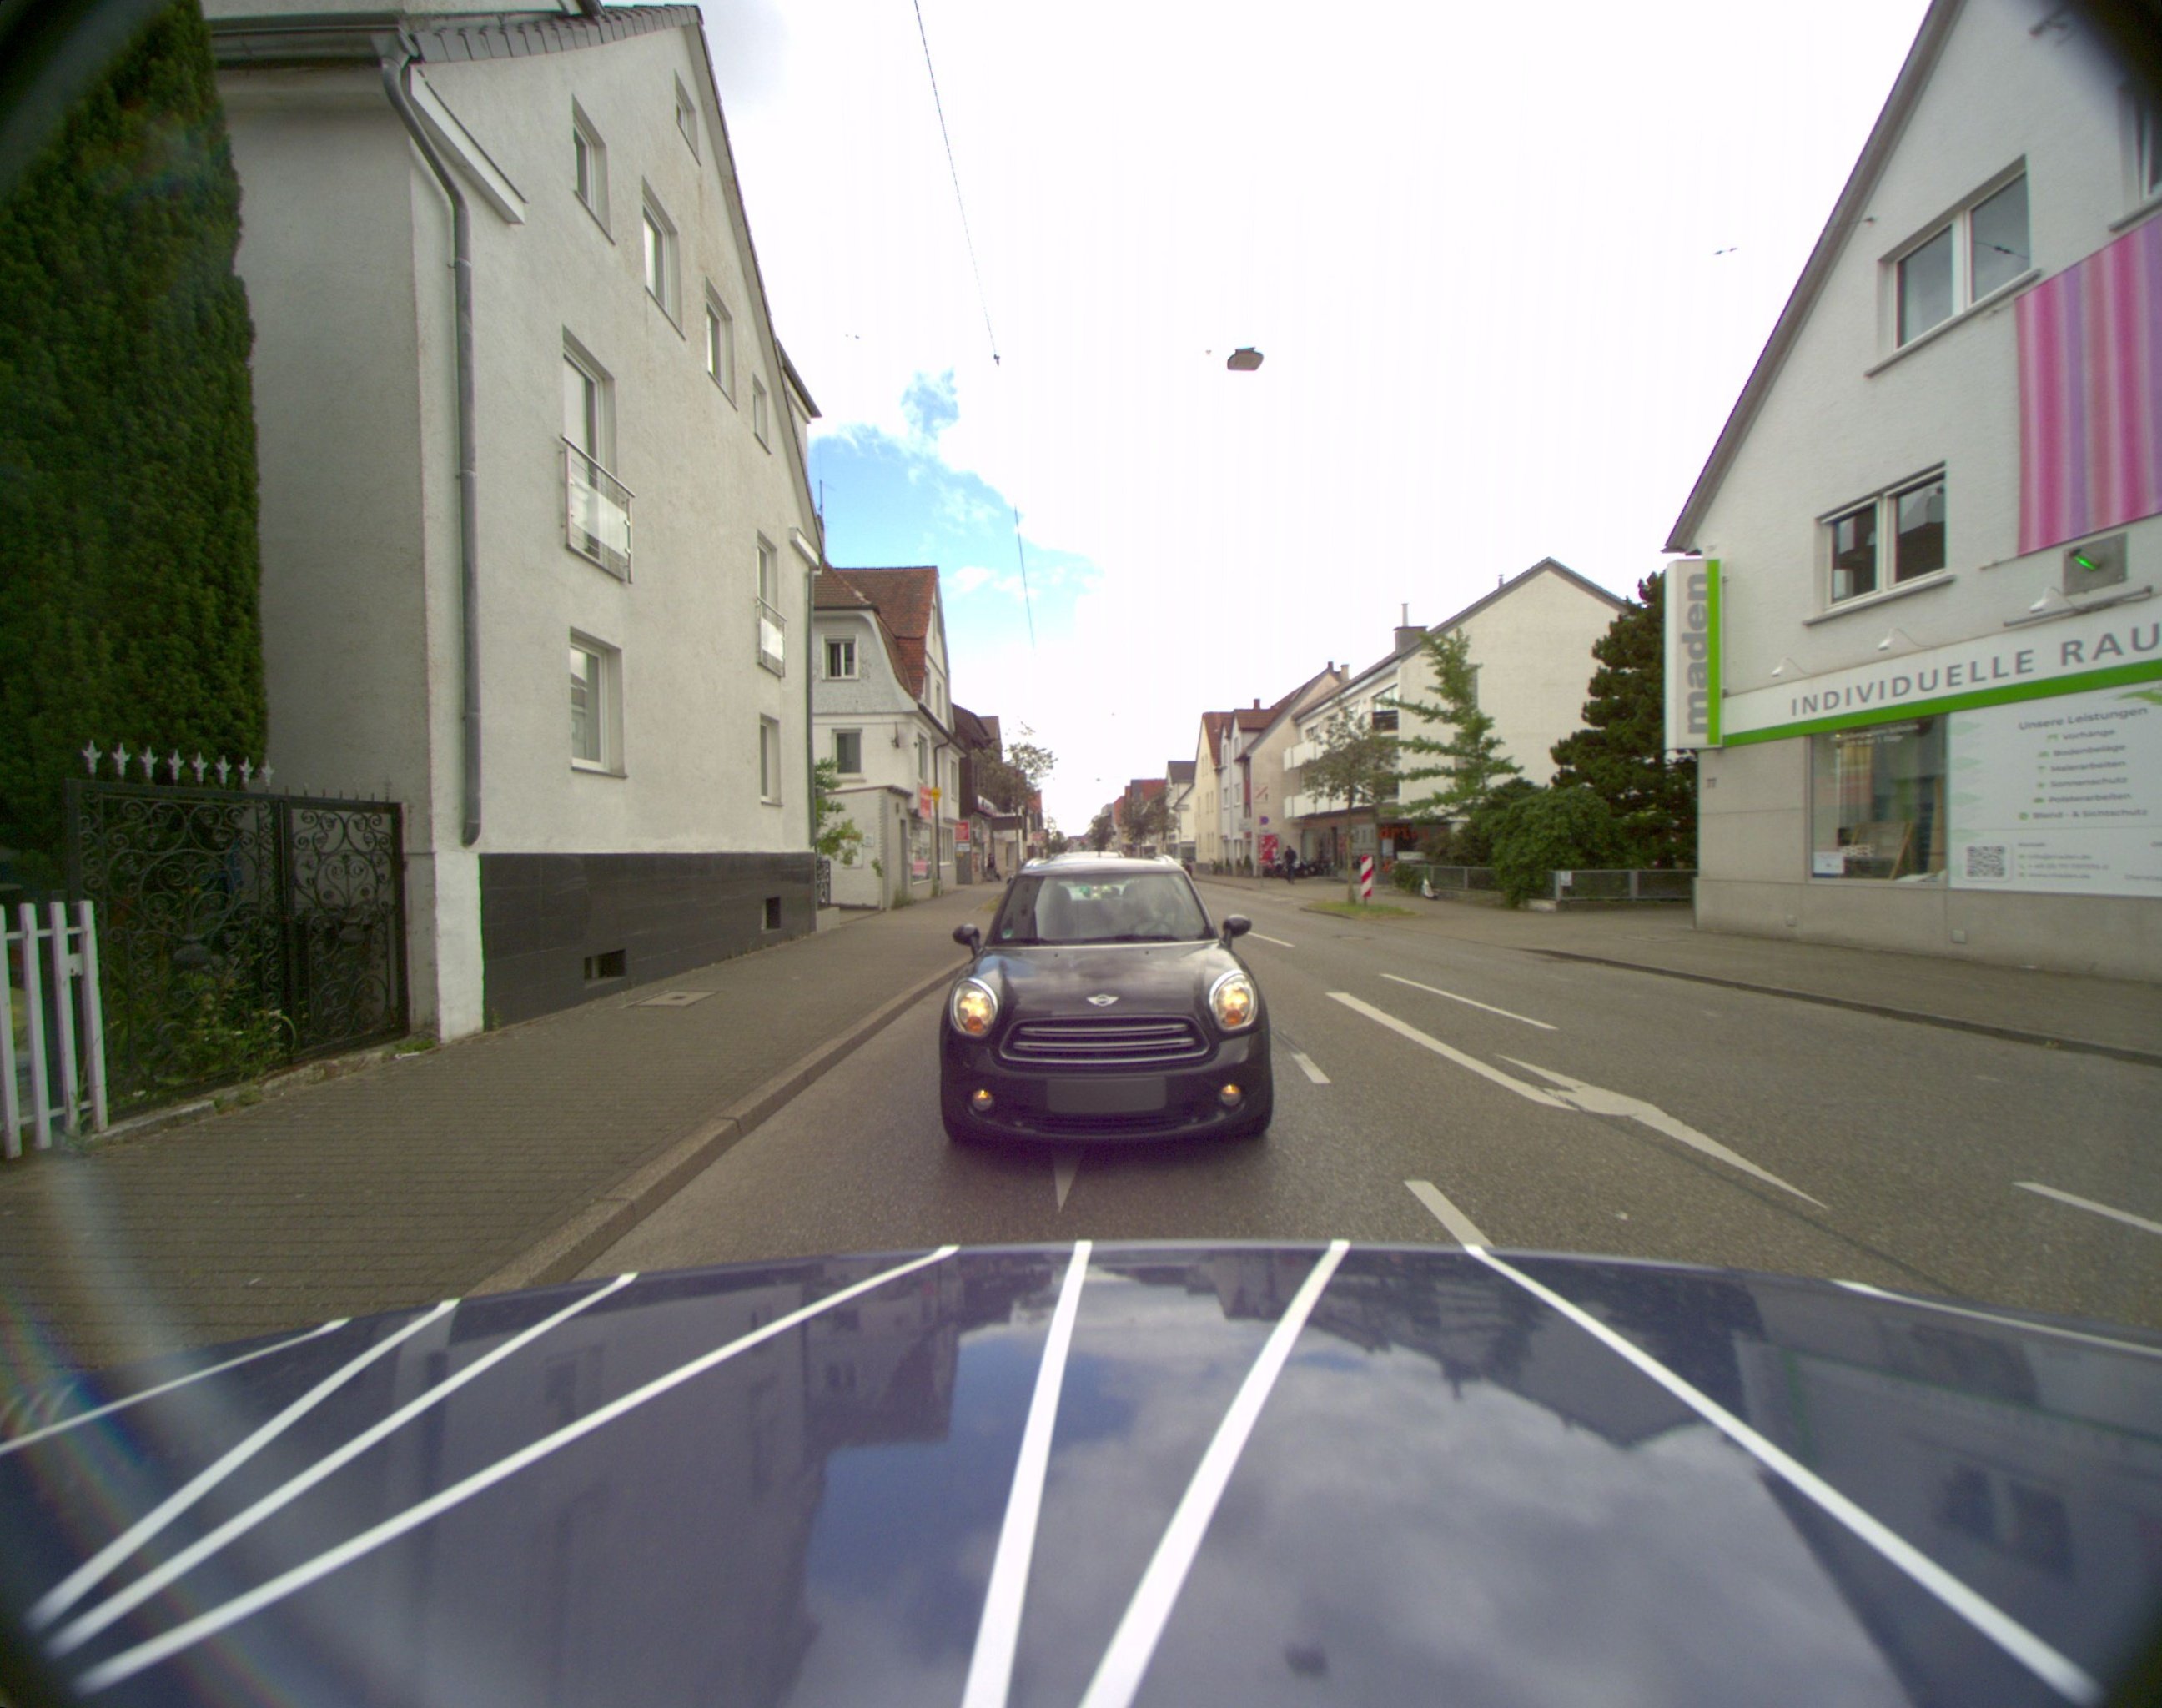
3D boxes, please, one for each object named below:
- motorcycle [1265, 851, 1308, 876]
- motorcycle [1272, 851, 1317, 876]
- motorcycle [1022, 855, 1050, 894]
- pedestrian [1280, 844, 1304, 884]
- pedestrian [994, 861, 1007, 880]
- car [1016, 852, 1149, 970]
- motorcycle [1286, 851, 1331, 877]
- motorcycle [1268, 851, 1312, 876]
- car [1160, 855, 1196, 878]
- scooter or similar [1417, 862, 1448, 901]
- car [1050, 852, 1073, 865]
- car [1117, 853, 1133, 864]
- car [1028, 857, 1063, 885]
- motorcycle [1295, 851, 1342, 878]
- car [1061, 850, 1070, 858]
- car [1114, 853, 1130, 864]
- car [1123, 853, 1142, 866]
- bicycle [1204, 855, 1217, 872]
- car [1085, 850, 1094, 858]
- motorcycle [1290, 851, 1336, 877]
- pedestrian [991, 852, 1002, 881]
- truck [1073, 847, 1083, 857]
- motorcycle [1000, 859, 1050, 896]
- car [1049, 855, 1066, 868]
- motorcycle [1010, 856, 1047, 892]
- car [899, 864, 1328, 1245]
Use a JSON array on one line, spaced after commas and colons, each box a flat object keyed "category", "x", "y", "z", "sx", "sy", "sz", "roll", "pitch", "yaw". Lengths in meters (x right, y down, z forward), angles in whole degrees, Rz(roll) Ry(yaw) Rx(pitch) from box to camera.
[{"category": "motorcycle", "x": 11.863, "y": 0.536, "z": 43.940, "sx": 2.231, "sy": 1.258, "sz": 0.613, "roll": -4, "pitch": 1, "yaw": -2}, {"category": "motorcycle", "x": 11.889, "y": 0.527, "z": 42.344, "sx": 2.231, "sy": 1.258, "sz": 0.699, "roll": -4, "pitch": 1, "yaw": -2}, {"category": "motorcycle", "x": -1.867, "y": 0.818, "z": 31.812, "sx": 0.672, "sy": 1.516, "sz": 2.599, "roll": -2, "pitch": 1, "yaw": 6}, {"category": "pedestrian", "x": 10.030, "y": 0.458, "z": 36.131, "sx": 0.753, "sy": 1.838, "sz": 1.019, "roll": -5, "pitch": 1, "yaw": 0}, {"category": "pedestrian", "x": -4.947, "y": 1.009, "z": 46.820, "sx": 0.742, "sy": 1.204, "sz": 0.644, "roll": 0, "pitch": 1, "yaw": -1}, {"category": "car", "x": 0.039, "y": 0.802, "z": 13.199, "sx": 1.855, "sy": 1.615, "sz": 4.736, "roll": -2, "pitch": 0, "yaw": 0}, {"category": "motorcycle", "x": 12.427, "y": 0.533, "z": 41.592, "sx": 2.231, "sy": 1.258, "sz": 0.613, "roll": -4, "pitch": 1, "yaw": -2}, {"category": "motorcycle", "x": 11.880, "y": 0.540, "z": 43.224, "sx": 2.231, "sy": 1.258, "sz": 0.613, "roll": -4, "pitch": 1, "yaw": -2}, {"category": "car", "x": 6.446, "y": 0.809, "z": 50.998, "sx": 1.792, "sy": 1.409, "sz": 4.340, "roll": 0, "pitch": 0, "yaw": -1}, {"category": "scooter or similar", "x": 10.366, "y": 0.799, "z": 22.429, "sx": 0.340, "sy": 1.105, "sz": 1.180, "roll": -2, "pitch": 1, "yaw": 0}, {"category": "car", "x": -2.989, "y": 0.658, "z": 114.755, "sx": 2.002, "sy": 1.772, "sz": 3.992, "roll": -2, "pitch": 1, "yaw": -24}, {"category": "car", "x": 5.607, "y": 0.558, "z": 97.154, "sx": 1.716, "sy": 1.389, "sz": 3.899, "roll": -2, "pitch": 0, "yaw": -2}, {"category": "car", "x": -1.983, "y": 0.916, "z": 43.114, "sx": 1.830, "sy": 1.400, "sz": 4.564, "roll": -2, "pitch": 0, "yaw": -1}, {"category": "motorcycle", "x": 12.482, "y": 0.555, "z": 39.923, "sx": 2.231, "sy": 1.258, "sz": 0.613, "roll": -4, "pitch": 1, "yaw": -2}, {"category": "car", "x": -4.020, "y": -0.049, "z": 198.023, "sx": 2.059, "sy": 2.002, "sz": 4.186, "roll": -2, "pitch": 0, "yaw": -1}, {"category": "car", "x": 5.476, "y": 0.600, "z": 102.143, "sx": 1.716, "sy": 1.389, "sz": 3.899, "roll": -2, "pitch": 0, "yaw": -2}, {"category": "car", "x": 5.875, "y": 0.620, "z": 86.538, "sx": 1.716, "sy": 1.389, "sz": 3.899, "roll": -2, "pitch": 0, "yaw": -2}, {"category": "bicycle", "x": 9.416, "y": 0.693, "z": 55.468, "sx": 0.515, "sy": 1.189, "sz": 2.023, "roll": -2, "pitch": 1, "yaw": -1}, {"category": "car", "x": 2.009, "y": -0.062, "z": 180.800, "sx": 1.855, "sy": 1.932, "sz": 4.489, "roll": 1, "pitch": 0, "yaw": -2}, {"category": "motorcycle", "x": 12.449, "y": 0.537, "z": 40.746, "sx": 2.231, "sy": 1.258, "sz": 0.613, "roll": -4, "pitch": 1, "yaw": -2}, {"category": "pedestrian", "x": -5.099, "y": 0.728, "z": 46.011, "sx": 0.644, "sy": 1.730, "sz": 0.742, "roll": 0, "pitch": 1, "yaw": -6}, {"category": "truck", "x": -0.887, "y": -0.589, "z": 219.274, "sx": 2.800, "sy": 3.020, "sz": 8.250, "roll": -2, "pitch": 0, "yaw": 0}, {"category": "motorcycle", "x": -2.194, "y": 0.894, "z": 29.333, "sx": 0.777, "sy": 1.373, "sz": 2.237, "roll": -2, "pitch": 1, "yaw": -37}, {"category": "car", "x": -2.615, "y": 0.857, "z": 85.513, "sx": 1.794, "sy": 1.356, "sz": 3.948, "roll": 1, "pitch": 0, "yaw": 0}, {"category": "motorcycle", "x": -2.252, "y": 0.852, "z": 32.922, "sx": 0.648, "sy": 1.432, "sz": 2.472, "roll": -2, "pitch": 1, "yaw": 19}, {"category": "car", "x": 0.072, "y": 0.909, "z": 5.718, "sx": 1.855, "sy": 1.527, "sz": 4.735, "roll": -2, "pitch": 0, "yaw": -2}]
